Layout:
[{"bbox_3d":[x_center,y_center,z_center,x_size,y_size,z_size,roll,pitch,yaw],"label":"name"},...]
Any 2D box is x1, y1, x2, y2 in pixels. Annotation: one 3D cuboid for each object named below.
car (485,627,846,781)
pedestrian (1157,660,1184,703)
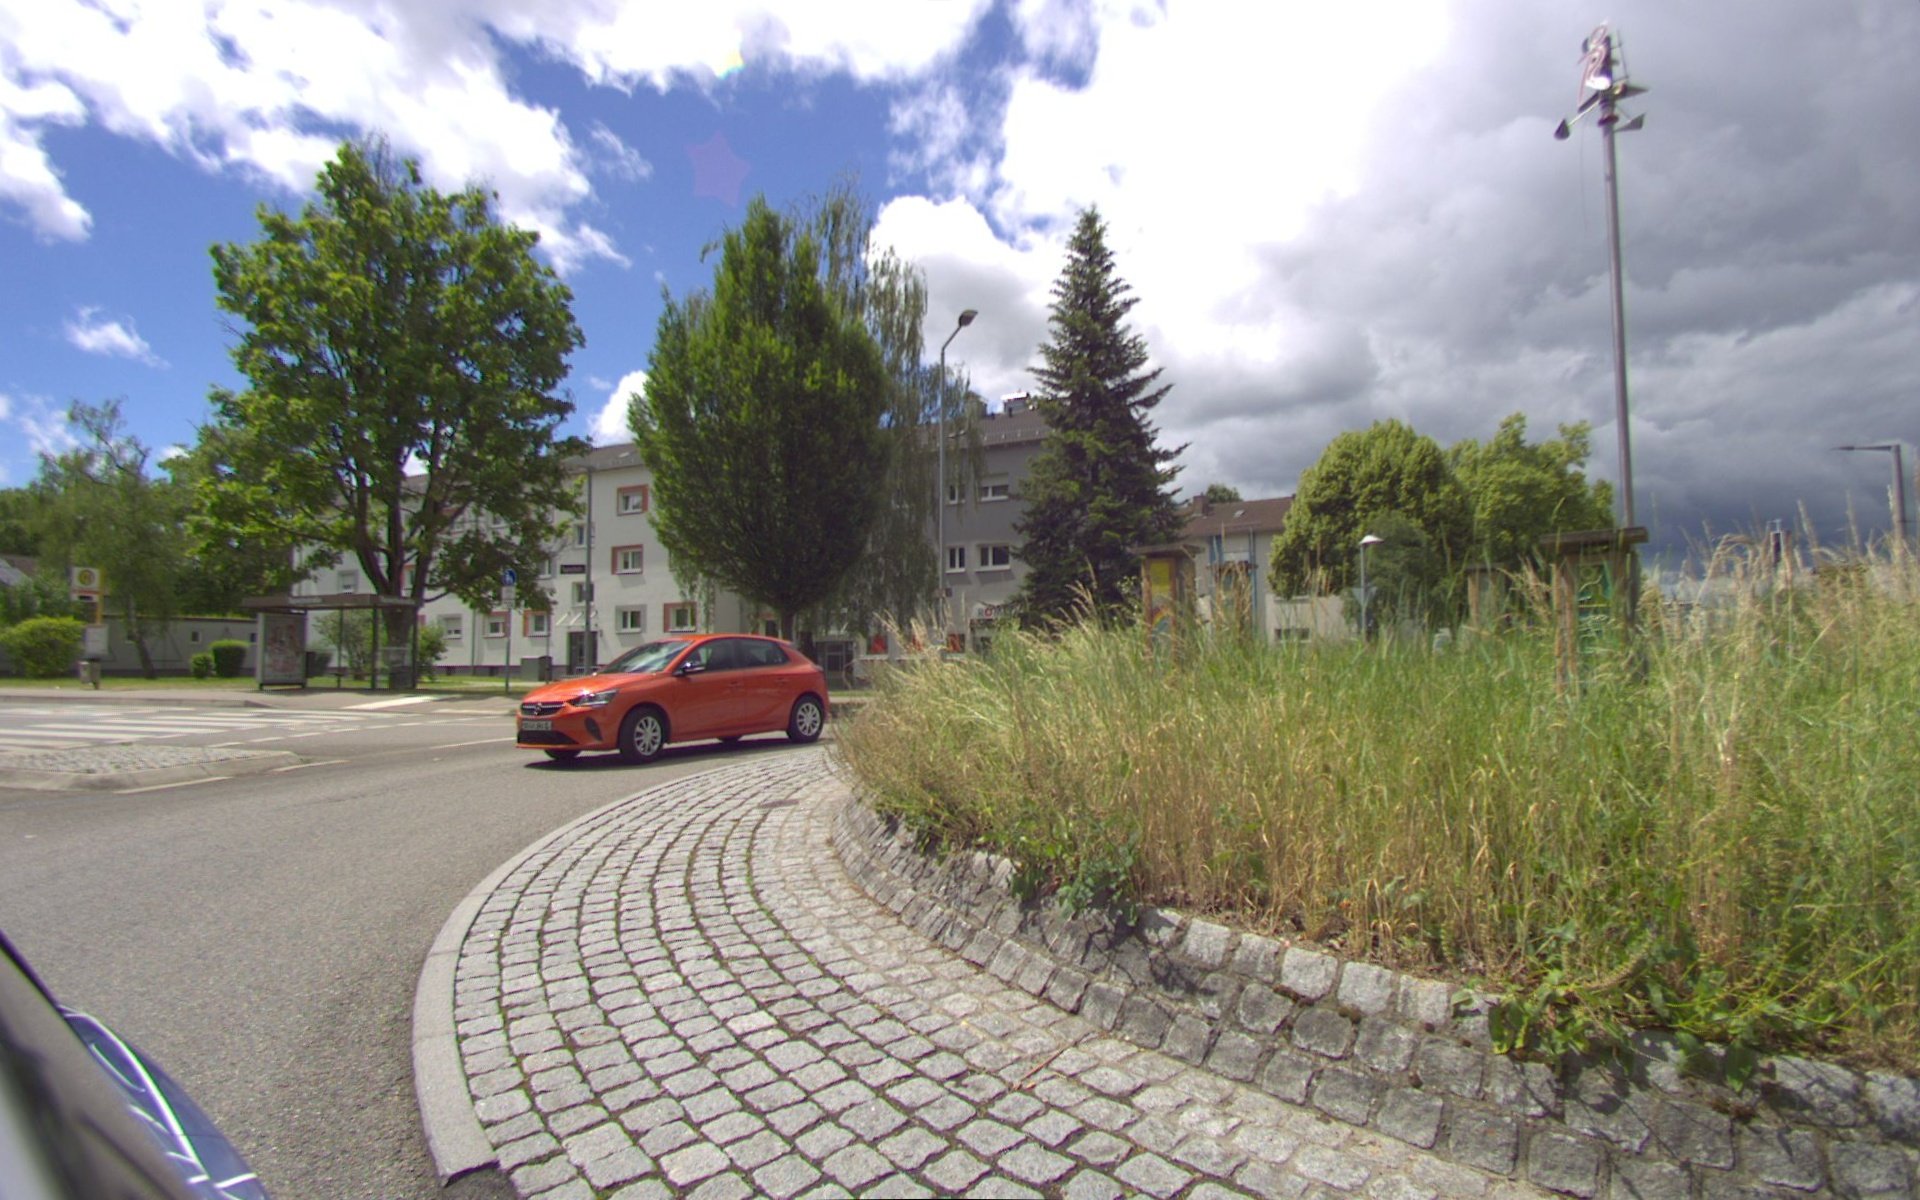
[{"bbox_3d":[-3.441,1.276,12.414,1.765,1.570,3.947,-8,-9,39],"label":"car"},{"bbox_3d":[7.659,2.960,36.846,0.742,1.541,0.683,-2,-5,32],"label":"pedestrian"}]
